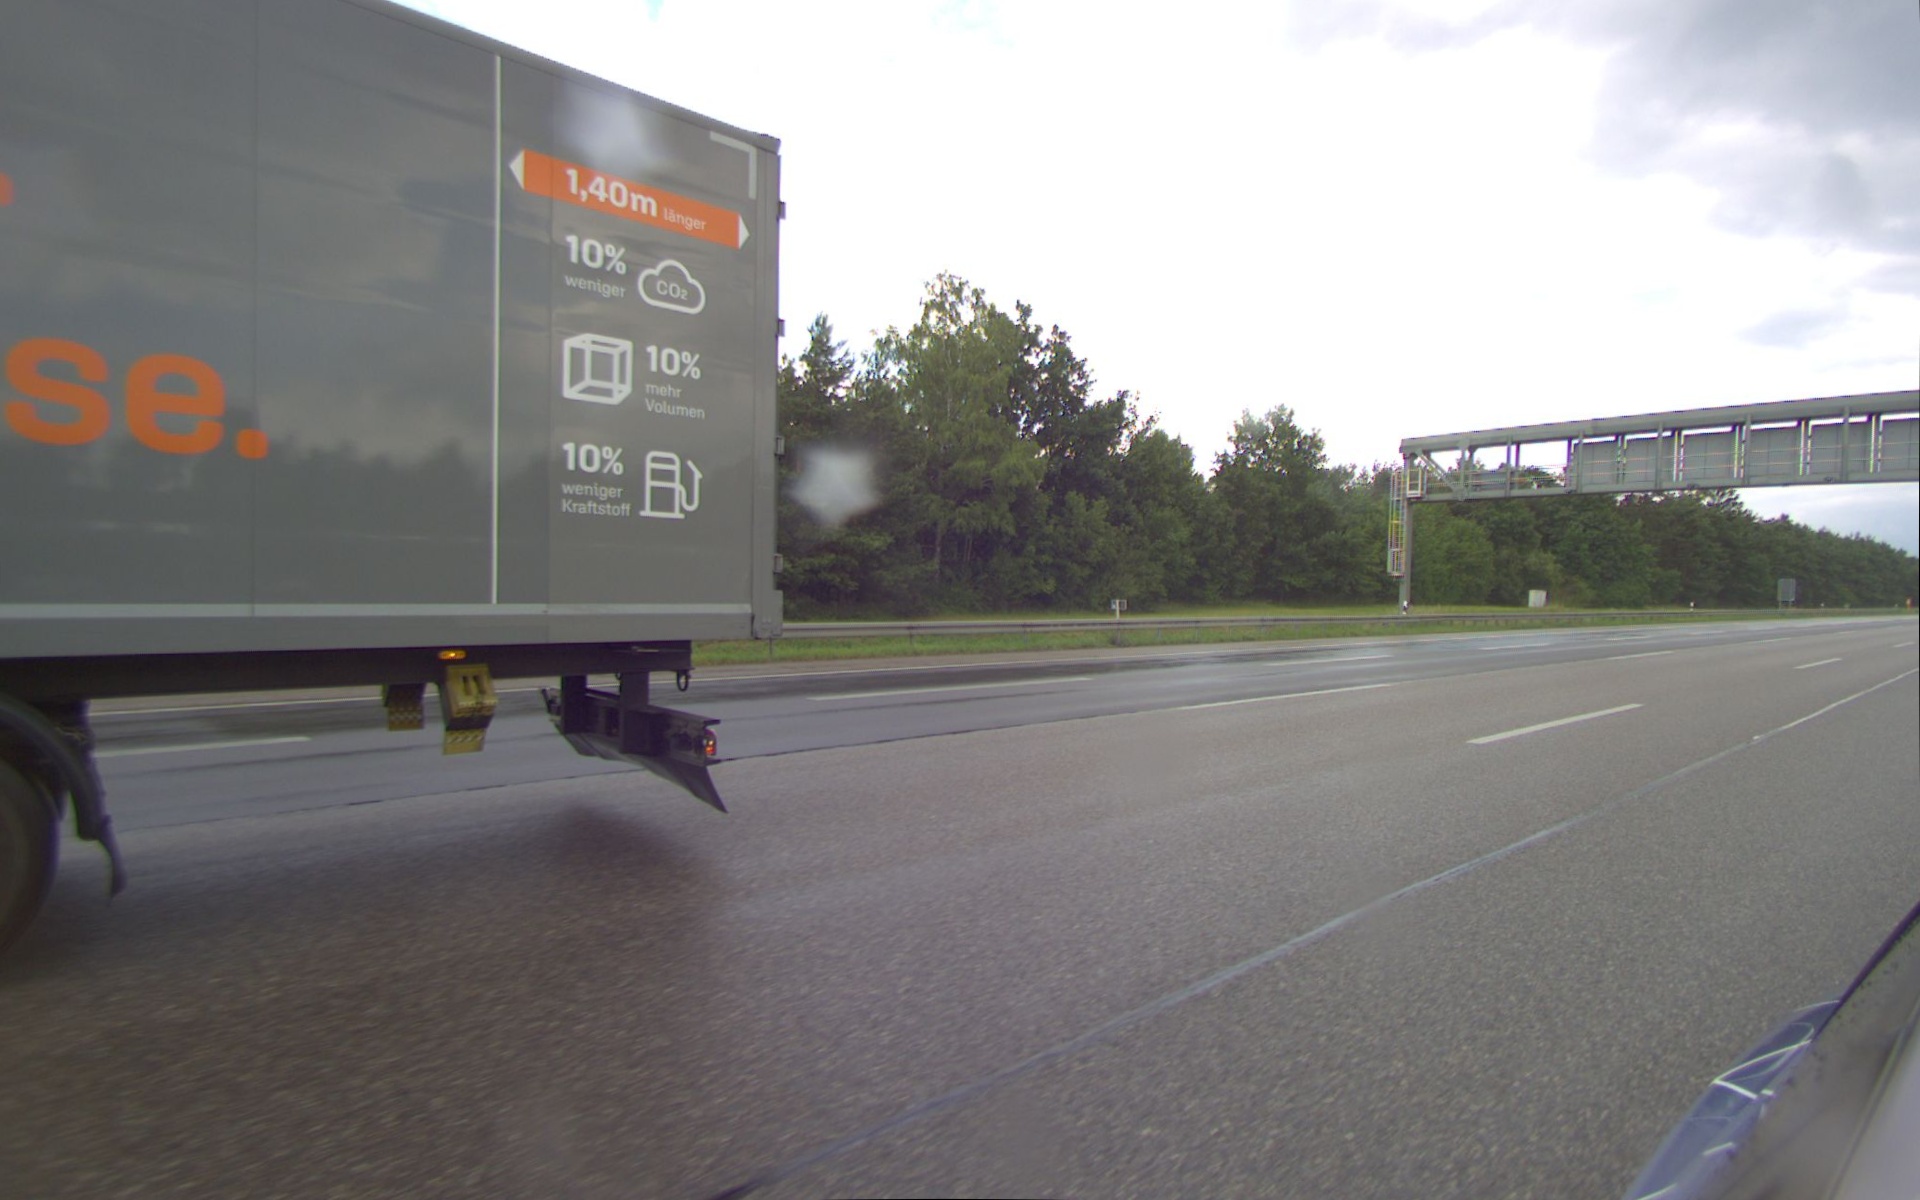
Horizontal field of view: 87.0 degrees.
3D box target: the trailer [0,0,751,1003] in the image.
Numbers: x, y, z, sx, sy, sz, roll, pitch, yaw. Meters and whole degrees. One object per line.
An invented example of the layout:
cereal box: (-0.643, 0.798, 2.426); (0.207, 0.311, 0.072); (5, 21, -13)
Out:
trailer: (-6.814, -0.631, 1.976); (13.181, 4.052, 2.327); (0, 1, -42)
